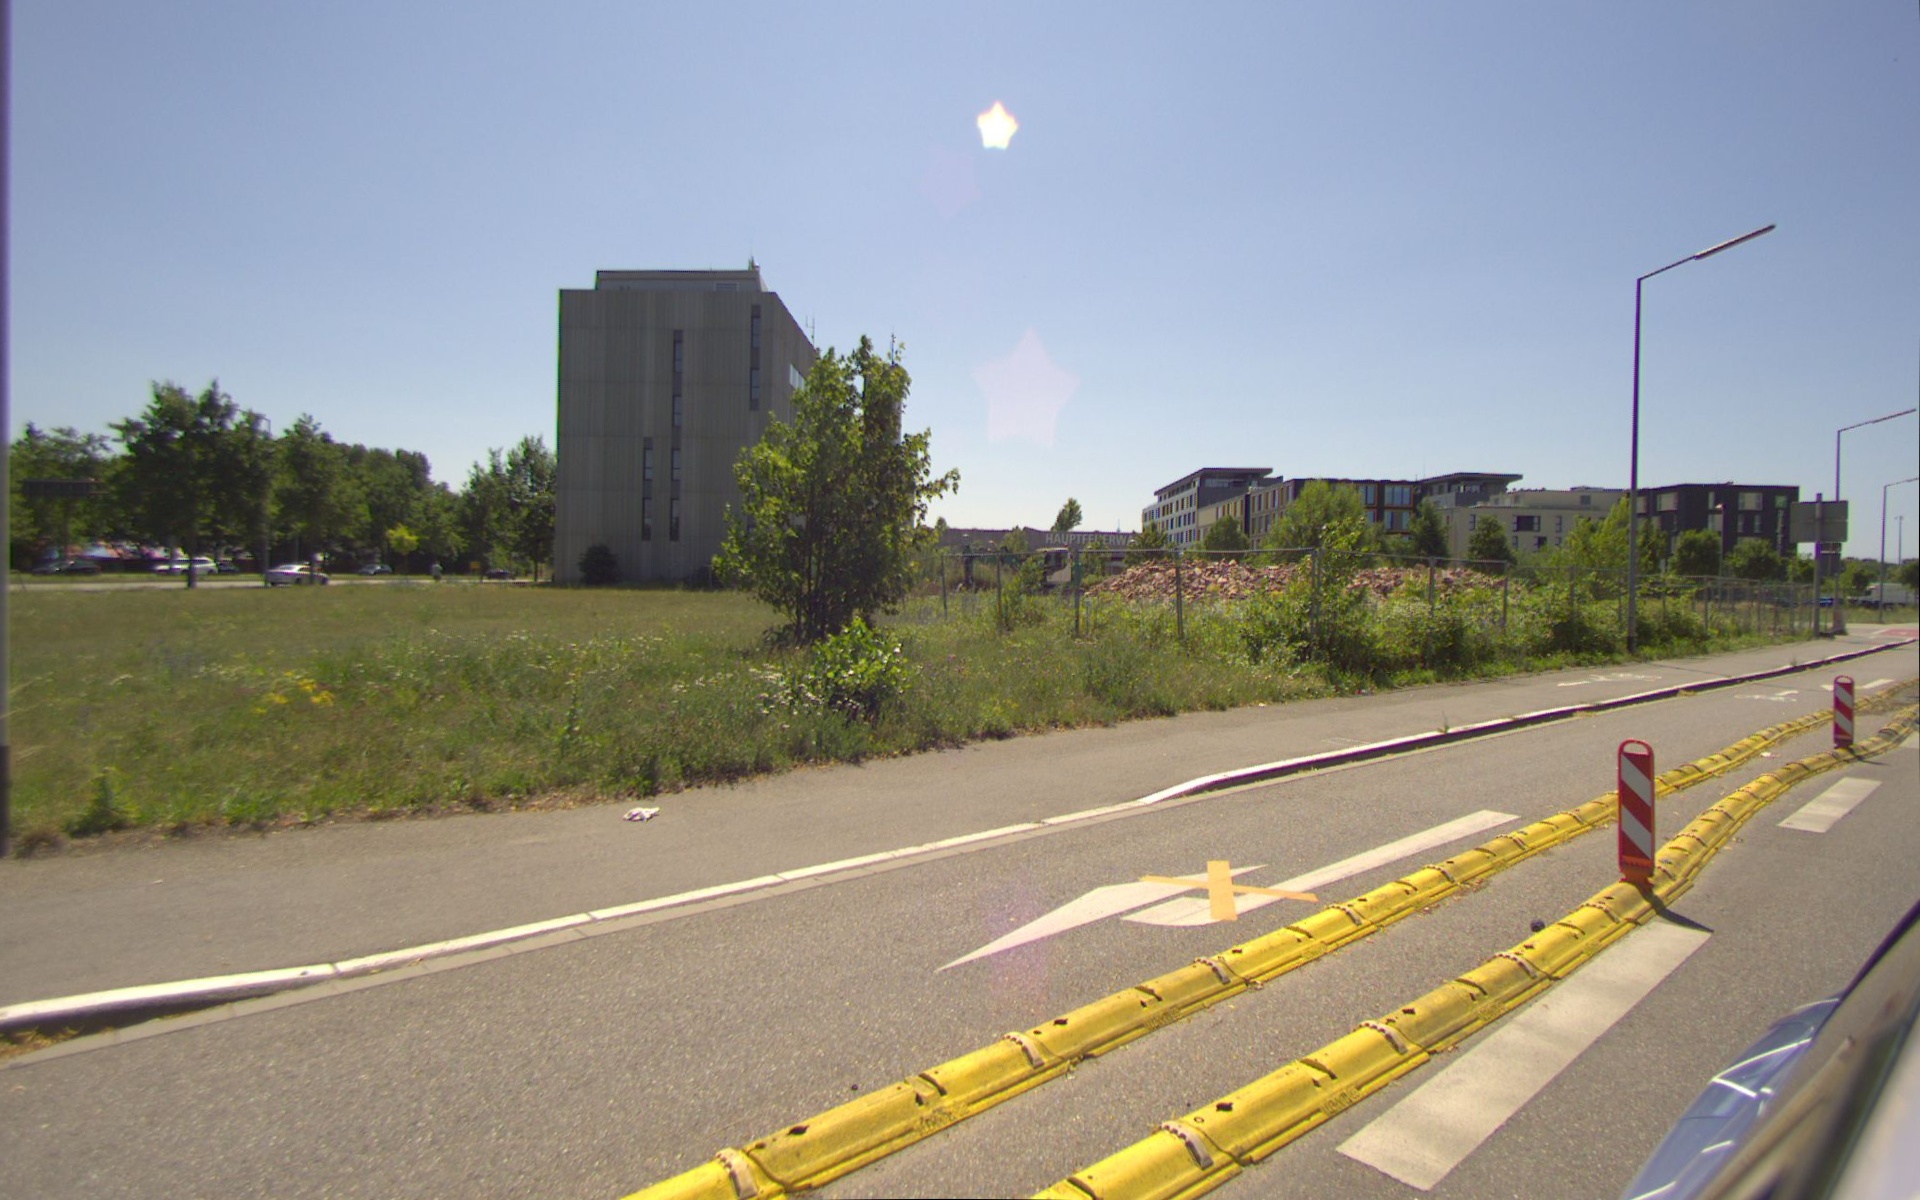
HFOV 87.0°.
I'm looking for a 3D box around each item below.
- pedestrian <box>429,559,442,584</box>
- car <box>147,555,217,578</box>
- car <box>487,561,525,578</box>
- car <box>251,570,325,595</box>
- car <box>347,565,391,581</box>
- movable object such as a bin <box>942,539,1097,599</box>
[{"bbox_3d":[-33.692,-1.812,65.017,0.652,1.611,0.557,0,0,-15],"label":"pedestrian"},{"bbox_3d":[-58.471,-2.526,76.179,1.814,1.612,4.444,0,0,1],"label":"car"},{"bbox_3d":[-47.871,-3.201,106.877,1.960,1.757,5.334,0,0,-4],"label":"car"},{"bbox_3d":[-43.019,-1.130,64.879,1.961,1.546,4.423,1,1,-3],"label":"car"},{"bbox_3d":[-59.586,-2.699,102.086,1.814,1.612,4.443,0,0,1],"label":"car"},{"bbox_3d":[3.141,-1.592,53.309,7.537,2.952,3.242,-1,0,-26],"label":"movable object such as a bin"}]
